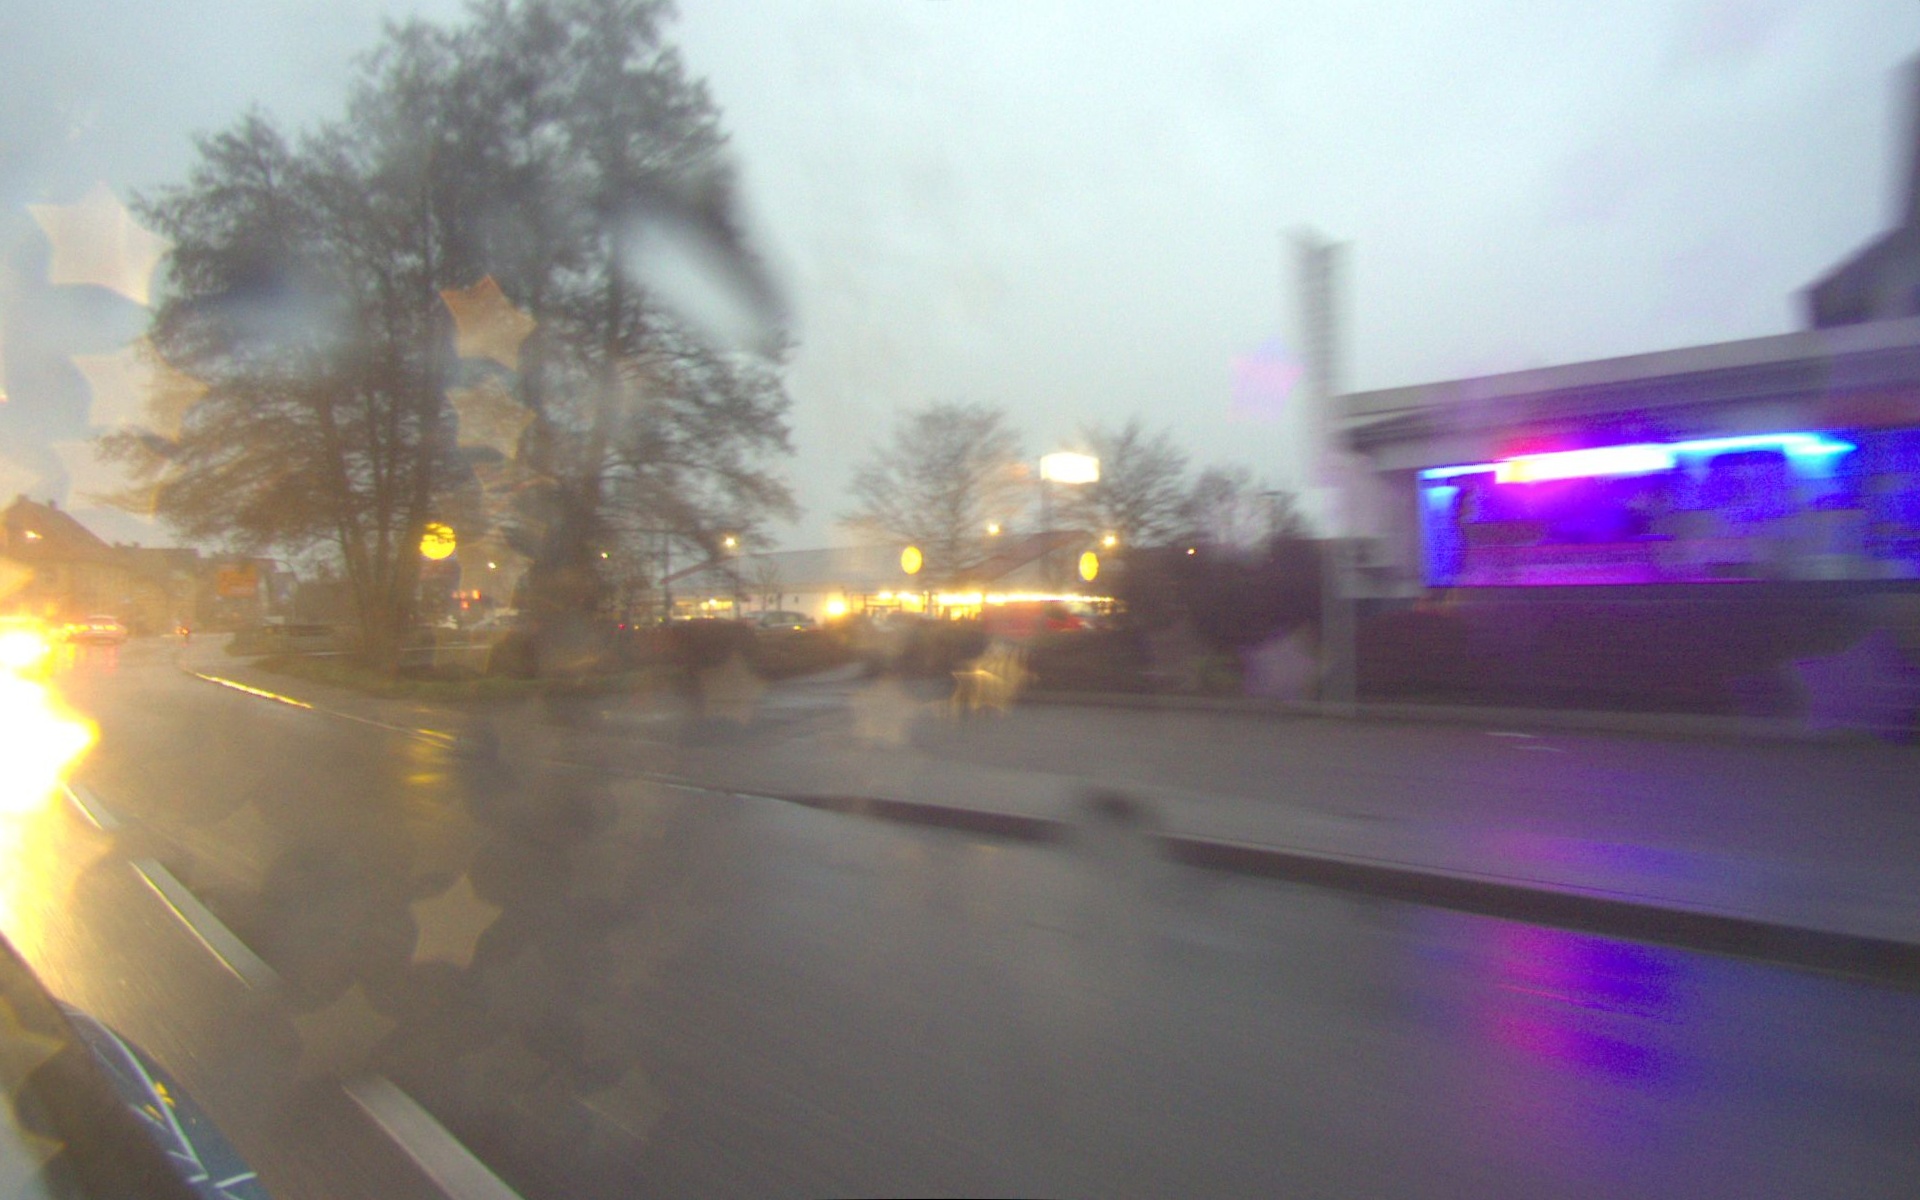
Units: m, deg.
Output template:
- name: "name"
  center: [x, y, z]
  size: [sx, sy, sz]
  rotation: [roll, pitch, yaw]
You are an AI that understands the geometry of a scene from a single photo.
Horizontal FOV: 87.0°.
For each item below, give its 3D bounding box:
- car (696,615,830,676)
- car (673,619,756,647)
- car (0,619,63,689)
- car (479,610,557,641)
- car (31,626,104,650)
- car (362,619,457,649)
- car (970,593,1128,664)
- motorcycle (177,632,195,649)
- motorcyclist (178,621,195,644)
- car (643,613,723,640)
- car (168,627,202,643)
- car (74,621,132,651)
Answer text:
- name: "car"
  center: [-7.166, 1.637, 37.259]
  size: [2.124, 1.992, 4.605]
  rotation: [-3, -1, 36]
- name: "car"
  center: [-14.490, 1.995, 59.822]
  size: [2.054, 1.575, 4.383]
  rotation: [-3, -4, 41]
- name: "car"
  center: [-26.129, 1.450, 27.472]
  size: [1.868, 1.712, 4.253]
  rotation: [-3, 1, -31]
- name: "car"
  center: [-34.473, 2.044, 79.077]
  size: [2.217, 2.300, 5.131]
  rotation: [-3, -4, 41]
- name: "car"
  center: [-56.678, 2.398, 64.265]
  size: [4.011, 1.506, 1.766]
  rotation: [-1, -1, 20]
- name: "car"
  center: [-33.684, 2.052, 62.036]
  size: [2.032, 1.725, 4.721]
  rotation: [-2, -2, 40]
- name: "car"
  center: [3.074, 1.056, 35.915]
  size: [5.269, 2.296, 2.256]
  rotation: [-3, -1, 43]
- name: "motorcycle"
  center: [-51.479, 2.670, 67.346]
  size: [0.854, 1.031, 2.115]
  rotation: [0, 0, -35]
- name: "motorcyclist"
  center: [-51.494, 2.124, 67.354]
  size: [0.854, 1.496, 0.911]
  rotation: [0, -1, -36]
- name: "car"
  center: [-17.076, 1.689, 62.579]
  size: [2.054, 1.575, 4.383]
  rotation: [-3, -4, 41]
- name: "car"
  center: [-74.487, 3.343, 97.272]
  size: [1.746, 1.442, 3.809]
  rotation: [-1, -1, -24]
- name: "car"
  center: [-50.857, 2.120, 60.114]
  size: [1.746, 1.736, 4.435]
  rotation: [0, -1, -29]
